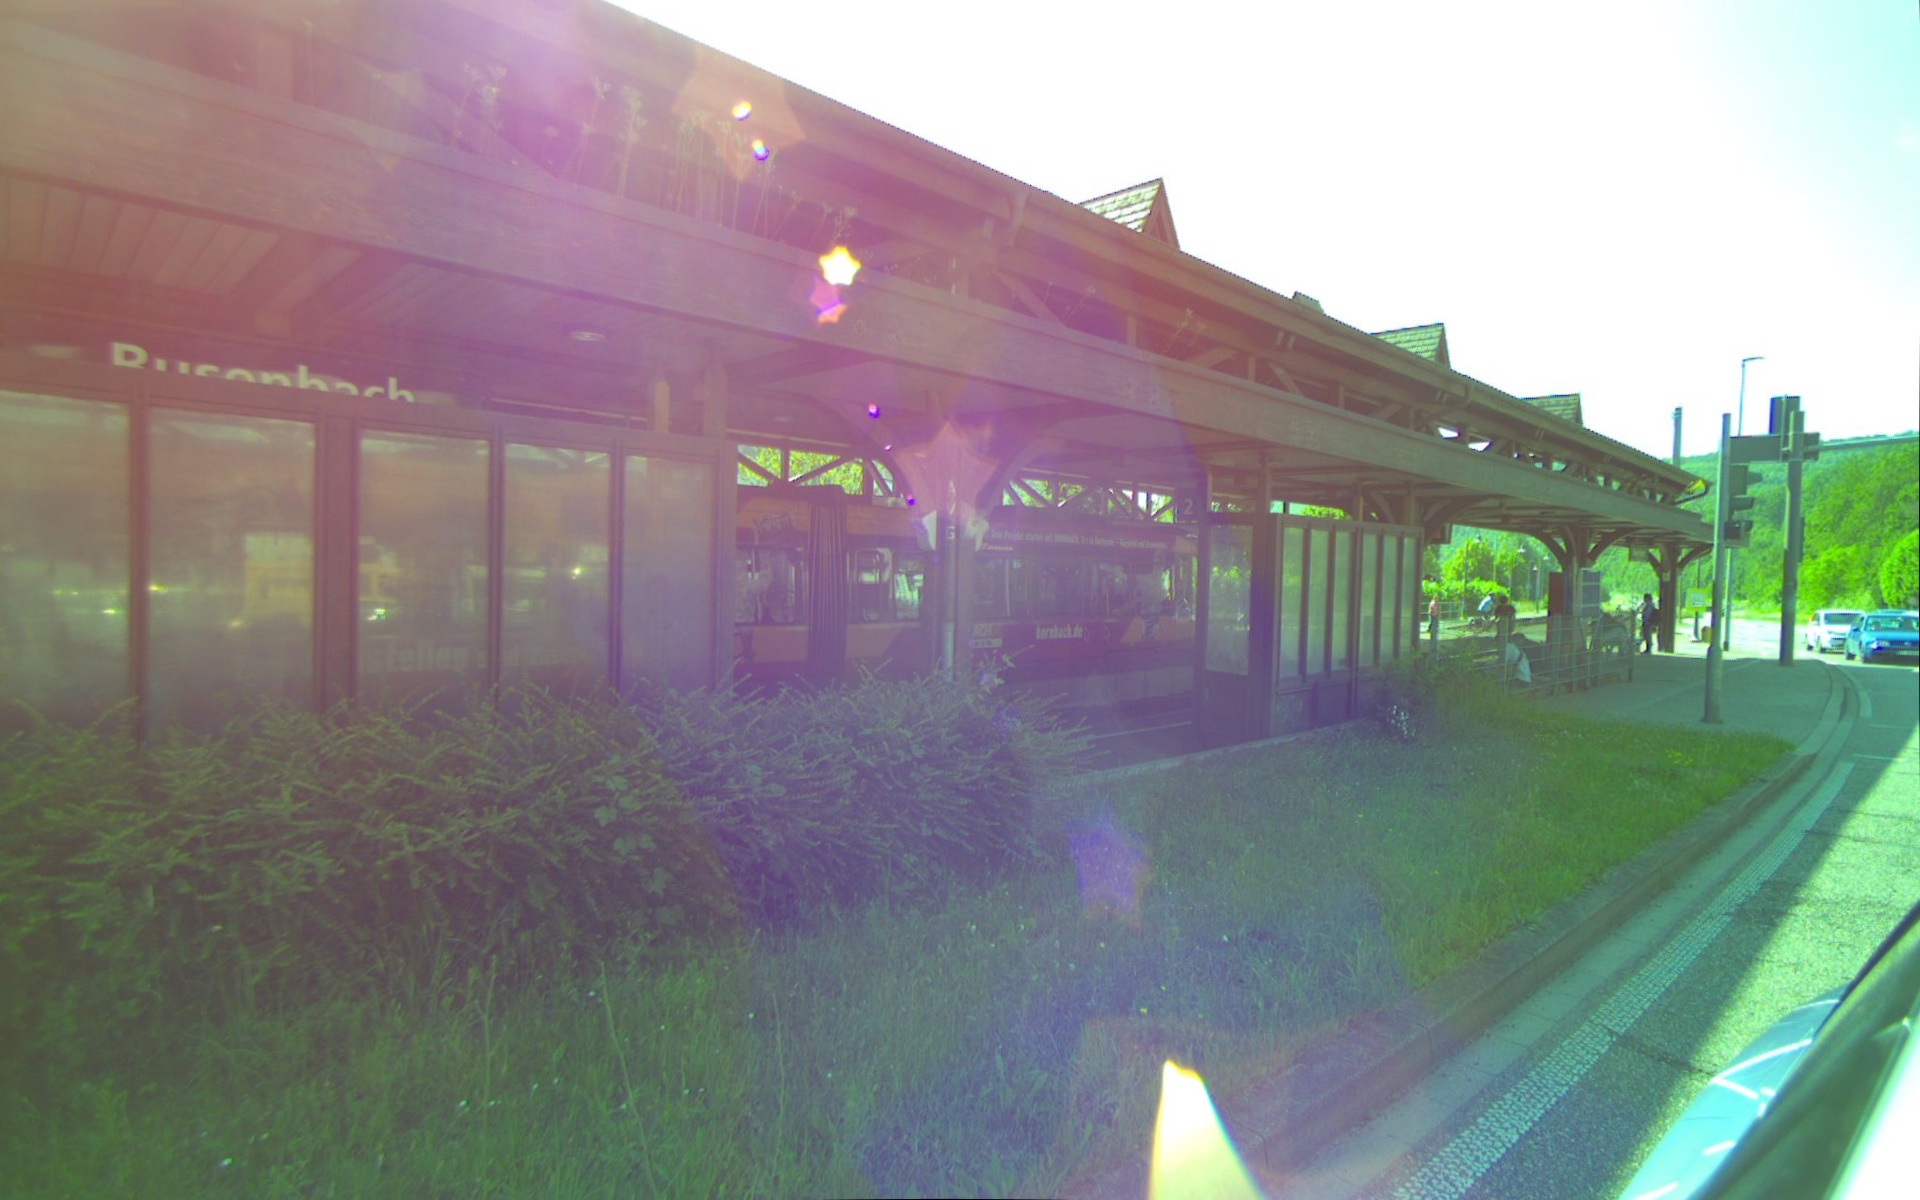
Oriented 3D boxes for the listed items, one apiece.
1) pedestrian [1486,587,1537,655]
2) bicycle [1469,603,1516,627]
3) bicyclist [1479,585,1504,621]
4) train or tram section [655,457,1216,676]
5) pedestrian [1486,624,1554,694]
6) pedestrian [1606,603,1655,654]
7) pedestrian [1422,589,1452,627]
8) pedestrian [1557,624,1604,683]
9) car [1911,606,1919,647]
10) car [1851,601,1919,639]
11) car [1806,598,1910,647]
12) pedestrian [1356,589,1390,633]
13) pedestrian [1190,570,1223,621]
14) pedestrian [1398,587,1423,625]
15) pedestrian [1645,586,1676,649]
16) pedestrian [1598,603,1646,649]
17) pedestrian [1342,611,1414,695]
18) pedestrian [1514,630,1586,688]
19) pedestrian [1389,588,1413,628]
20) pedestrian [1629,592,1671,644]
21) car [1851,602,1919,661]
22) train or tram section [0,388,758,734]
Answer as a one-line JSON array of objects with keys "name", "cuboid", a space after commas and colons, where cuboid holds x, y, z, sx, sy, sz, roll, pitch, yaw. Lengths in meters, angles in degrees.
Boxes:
[{"name": "pedestrian", "cuboid": [13.273, 0.494, 24.355, 0.861, 1.567, 0.908, 1, 0, 44]}, {"name": "bicycle", "cuboid": [23.870, 0.685, 45.387, 1.795, 1.069, 0.599, -1, -1, 25]}, {"name": "bicyclist", "cuboid": [23.826, 0.127, 45.398, 0.937, 1.589, 0.780, -1, -1, 25]}, {"name": "train or tram section", "cuboid": [0.595, -0.538, 21.779, 2.856, 3.407, 14.124, 0, 0, 44]}, {"name": "pedestrian", "cuboid": [8.362, 0.859, 15.109, 0.742, 0.995, 0.757, -1, -2, 42]}, {"name": "pedestrian", "cuboid": [16.860, 0.704, 25.457, 0.988, 1.251, 0.588, -1, -2, 36]}, {"name": "pedestrian", "cuboid": [21.341, 0.364, 45.279, 0.805, 1.706, 0.905, 1, -2, -15]}, {"name": "pedestrian", "cuboid": [10.539, 0.897, 17.184, 0.617, 0.978, 0.400, -1, -2, 43]}, {"name": "car", "cuboid": [35.658, 0.960, 35.815, 1.965, 1.523, 4.696, 0, -1, 32]}, {"name": "car", "cuboid": [39.957, 0.851, 43.374, 1.965, 1.523, 3.941, 0, -1, 32]}, {"name": "car", "cuboid": [31.104, 0.764, 35.192, 1.984, 1.605, 3.955, -1, -1, 31]}, {"name": "pedestrian", "cuboid": [17.994, 0.485, 44.083, 1.054, 1.867, 0.989, 3, -2, -41]}, {"name": "pedestrian", "cuboid": [8.443, -0.142, 34.653, 0.888, 1.706, 0.735, 2, -2, -41]}, {"name": "pedestrian", "cuboid": [20.478, 0.262, 46.000, 0.865, 1.706, 0.809, -1, -2, 43]}, {"name": "pedestrian", "cuboid": [19.509, 0.469, 28.179, 0.655, 1.713, 0.730, 2, 1, 36]}, {"name": "pedestrian", "cuboid": [17.390, 0.670, 26.584, 1.003, 1.174, 0.936, 1, 0, 36]}, {"name": "pedestrian", "cuboid": [5.802, 0.720, 14.039, 0.742, 1.131, 0.657, -1, -2, 43]}, {"name": "pedestrian", "cuboid": [9.348, 0.916, 16.040, 0.844, 0.885, 0.795, -1, -2, 43]}, {"name": "pedestrian", "cuboid": [19.258, 0.349, 44.175, 0.895, 1.706, 0.815, 0, -2, 26]}, {"name": "pedestrian", "cuboid": [23.835, 0.620, 34.967, 0.906, 1.759, 1.242, 0, -2, 22]}, {"name": "car", "cuboid": [26.765, 0.855, 28.544, 1.853, 1.501, 4.250, 2, 1, 33]}, {"name": "train or tram section", "cuboid": [-8.428, -0.391, 12.835, 11.846, 3.407, 2.789, 0, 0, -43]}]
